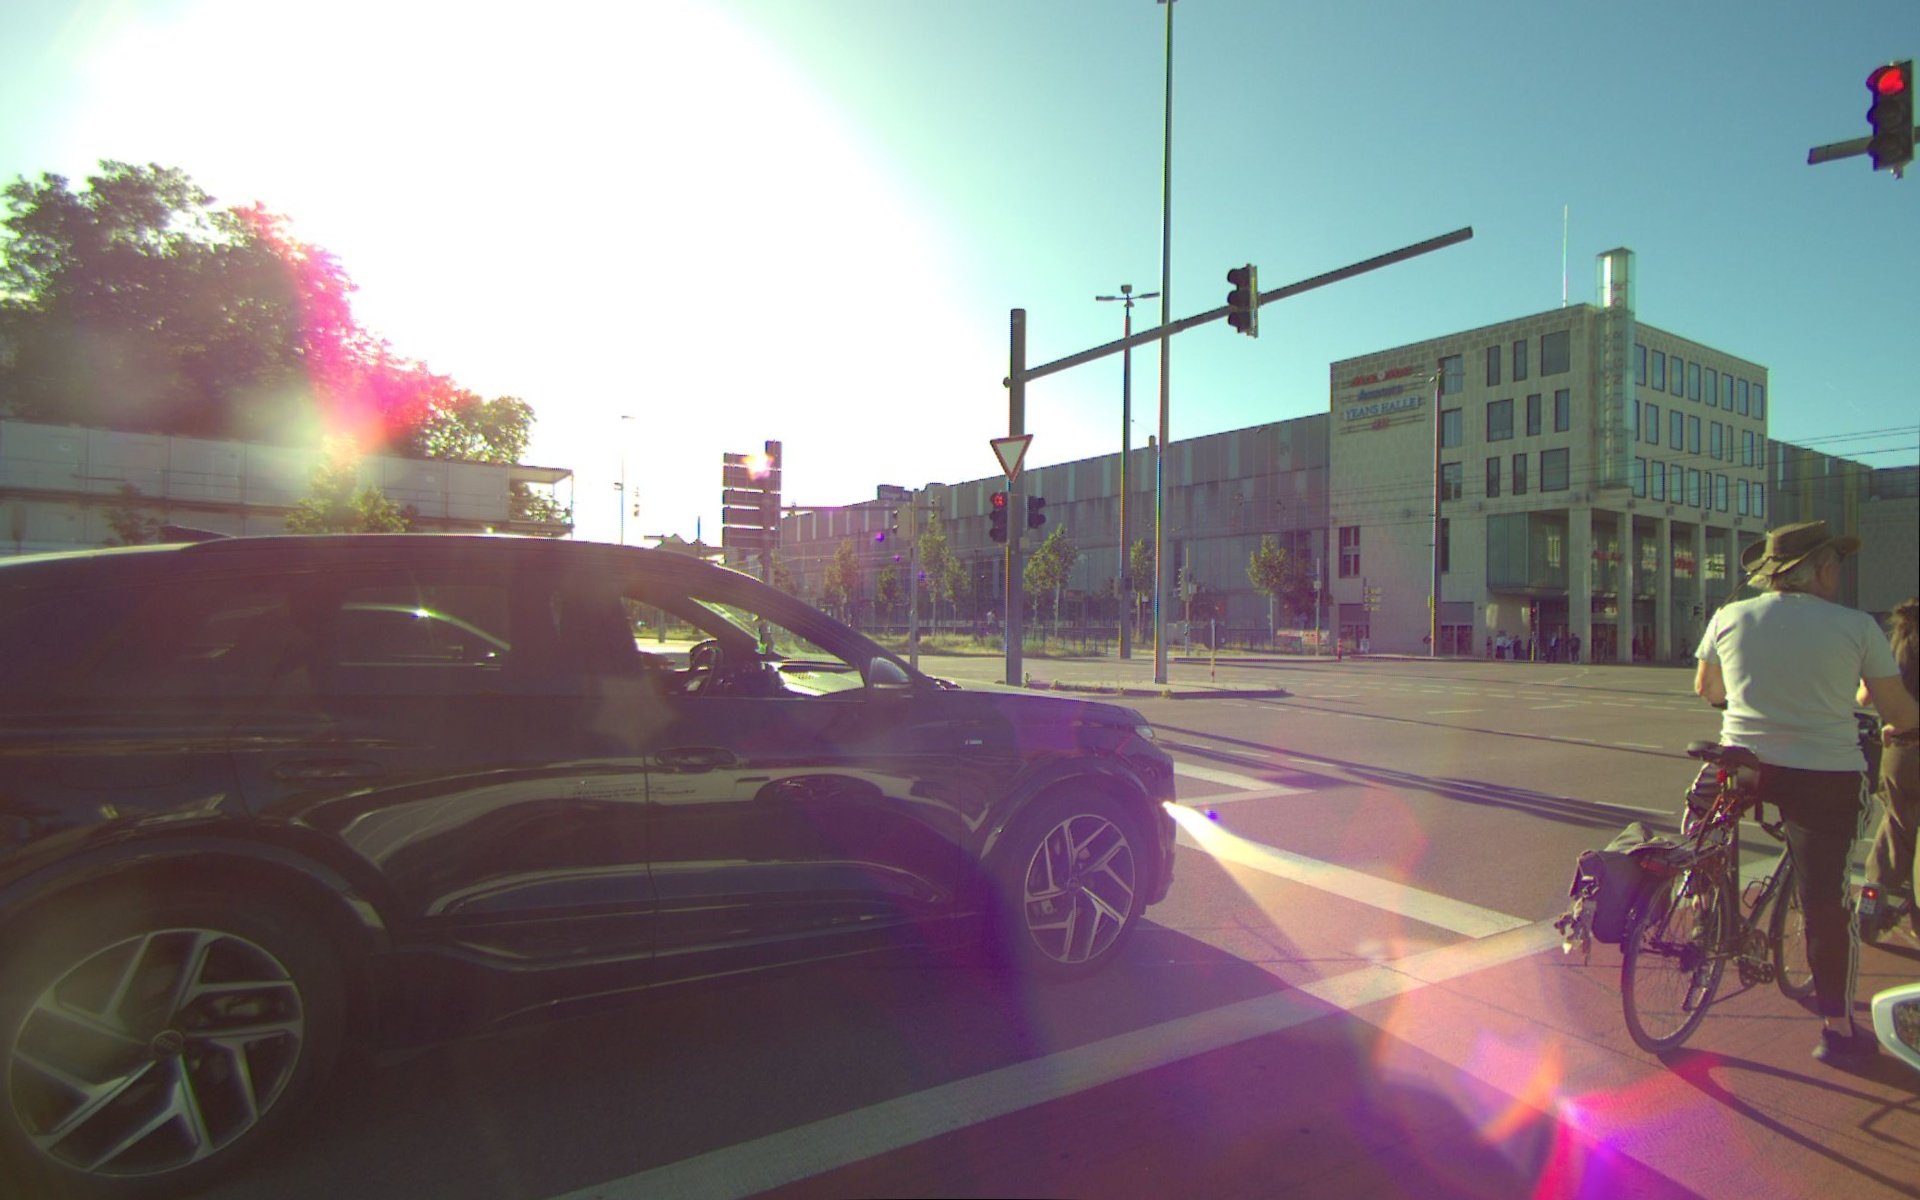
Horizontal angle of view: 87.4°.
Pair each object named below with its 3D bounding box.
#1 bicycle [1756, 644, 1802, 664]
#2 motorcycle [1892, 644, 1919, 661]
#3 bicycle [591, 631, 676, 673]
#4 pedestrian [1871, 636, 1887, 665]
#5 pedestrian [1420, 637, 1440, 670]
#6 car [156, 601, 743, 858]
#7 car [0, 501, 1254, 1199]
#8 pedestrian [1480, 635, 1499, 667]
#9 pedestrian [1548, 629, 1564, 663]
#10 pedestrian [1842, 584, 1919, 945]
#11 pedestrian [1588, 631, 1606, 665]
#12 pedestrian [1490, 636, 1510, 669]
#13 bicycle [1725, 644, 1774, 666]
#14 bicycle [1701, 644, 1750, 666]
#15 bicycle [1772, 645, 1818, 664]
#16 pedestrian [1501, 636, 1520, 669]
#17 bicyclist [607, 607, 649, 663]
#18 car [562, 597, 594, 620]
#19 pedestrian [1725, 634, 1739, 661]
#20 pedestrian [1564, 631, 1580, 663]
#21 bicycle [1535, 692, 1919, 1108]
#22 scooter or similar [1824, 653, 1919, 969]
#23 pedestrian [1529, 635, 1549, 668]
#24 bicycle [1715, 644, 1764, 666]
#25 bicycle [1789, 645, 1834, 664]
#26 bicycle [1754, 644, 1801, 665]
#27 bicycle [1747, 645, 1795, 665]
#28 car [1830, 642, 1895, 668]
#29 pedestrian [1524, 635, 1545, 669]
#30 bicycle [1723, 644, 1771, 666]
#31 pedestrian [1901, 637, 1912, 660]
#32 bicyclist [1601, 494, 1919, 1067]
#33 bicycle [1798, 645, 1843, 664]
[{"bbox_3d":[54.279,3.576,66.570,0.605,1.238,2.295,1,-1,-31],"label":"bicycle"},{"bbox_3d":[70.737,3.901,74.859,0.508,1.223,1.786,1,0,-44],"label":"motorcycle"},{"bbox_3d":[-12.074,1.897,37.106,2.905,1.388,0.970,2,0,16],"label":"bicycle"},{"bbox_3d":[55.625,3.031,60.806,0.639,1.742,0.449,0,-1,37],"label":"pedestrian"},{"bbox_3d":[30.604,3.479,65.382,0.767,2.040,0.876,2,0,-41],"label":"pedestrian"},{"bbox_3d":[-3.587,0.791,7.499,3.562,1.505,1.485,1,0,-30],"label":"car"},{"bbox_3d":[-1.156,0.633,3.874,4.630,1.656,1.760,1,0,-32],"label":"car"},{"bbox_3d":[32.399,3.109,61.478,0.710,1.910,0.779,2,0,-36],"label":"pedestrian"},{"bbox_3d":[34.337,2.662,57.896,0.705,1.910,0.785,2,0,33],"label":"pedestrian"},{"bbox_3d":[4.631,0.763,4.809,0.568,1.654,0.543,2,0,-45],"label":"pedestrian"},{"bbox_3d":[35.871,2.691,56.586,0.784,1.868,0.863,0,-1,28],"label":"pedestrian"},{"bbox_3d":[32.160,3.126,59.871,0.710,1.910,0.779,2,0,-36],"label":"pedestrian"},{"bbox_3d":[48.695,3.384,61.962,0.605,1.238,2.295,1,-1,-31],"label":"bicycle"},{"bbox_3d":[45.760,3.285,60.086,0.605,1.238,2.295,1,-1,-31],"label":"bicycle"},{"bbox_3d":[55.517,3.615,66.833,0.605,1.238,2.295,1,-1,-31],"label":"bicycle"},{"bbox_3d":[33.241,3.163,60.667,0.780,1.910,0.709,2,0,-37],"label":"pedestrian"},{"bbox_3d":[-12.296,1.280,37.218,1.078,2.040,0.961,2,0,16],"label":"bicyclist"},{"bbox_3d":[-32.939,0.724,86.516,1.785,1.908,3.964,2,0,-33],"label":"car"},{"bbox_3d":[51.401,3.157,66.877,0.602,1.702,0.549,1,1,-40],"label":"pedestrian"},{"bbox_3d":[35.628,2.727,58.427,0.784,1.868,0.862,0,-1,32],"label":"pedestrian"},{"bbox_3d":[2.877,0.962,3.683,1.810,1.171,0.482,2,0,-31],"label":"bicycle"},{"bbox_3d":[4.490,0.926,4.717,1.186,1.311,0.541,2,0,-45],"label":"scooter or similar"},{"bbox_3d":[34.405,3.041,59.692,0.710,1.910,0.779,2,0,-36],"label":"pedestrian"},{"bbox_3d":[46.962,3.324,60.530,0.605,1.238,2.295,1,-1,-31],"label":"bicycle"},{"bbox_3d":[58.850,3.729,69.432,0.605,1.238,2.295,1,-1,-31],"label":"bicycle"},{"bbox_3d":[52.900,3.527,65.022,0.605,1.238,2.295,1,-1,-31],"label":"bicycle"},{"bbox_3d":[51.275,3.470,63.554,0.605,1.238,2.295,1,-1,-31],"label":"bicycle"},{"bbox_3d":[49.781,3.059,55.413,3.956,1.359,1.621,2,-4,-32],"label":"car"},{"bbox_3d":[33.395,3.004,58.380,0.710,1.910,0.779,2,0,-36],"label":"pedestrian"},{"bbox_3d":[48.045,3.361,61.341,0.605,1.238,2.295,1,-1,-31],"label":"bicycle"},{"bbox_3d":[71.095,3.665,75.459,0.579,1.702,0.516,1,1,-43],"label":"pedestrian"},{"bbox_3d":[2.867,0.557,3.556,0.856,1.743,0.657,2,0,-30],"label":"bicyclist"},{"bbox_3d":[59.822,3.761,69.856,0.605,1.238,2.295,1,-1,-31],"label":"bicycle"}]
